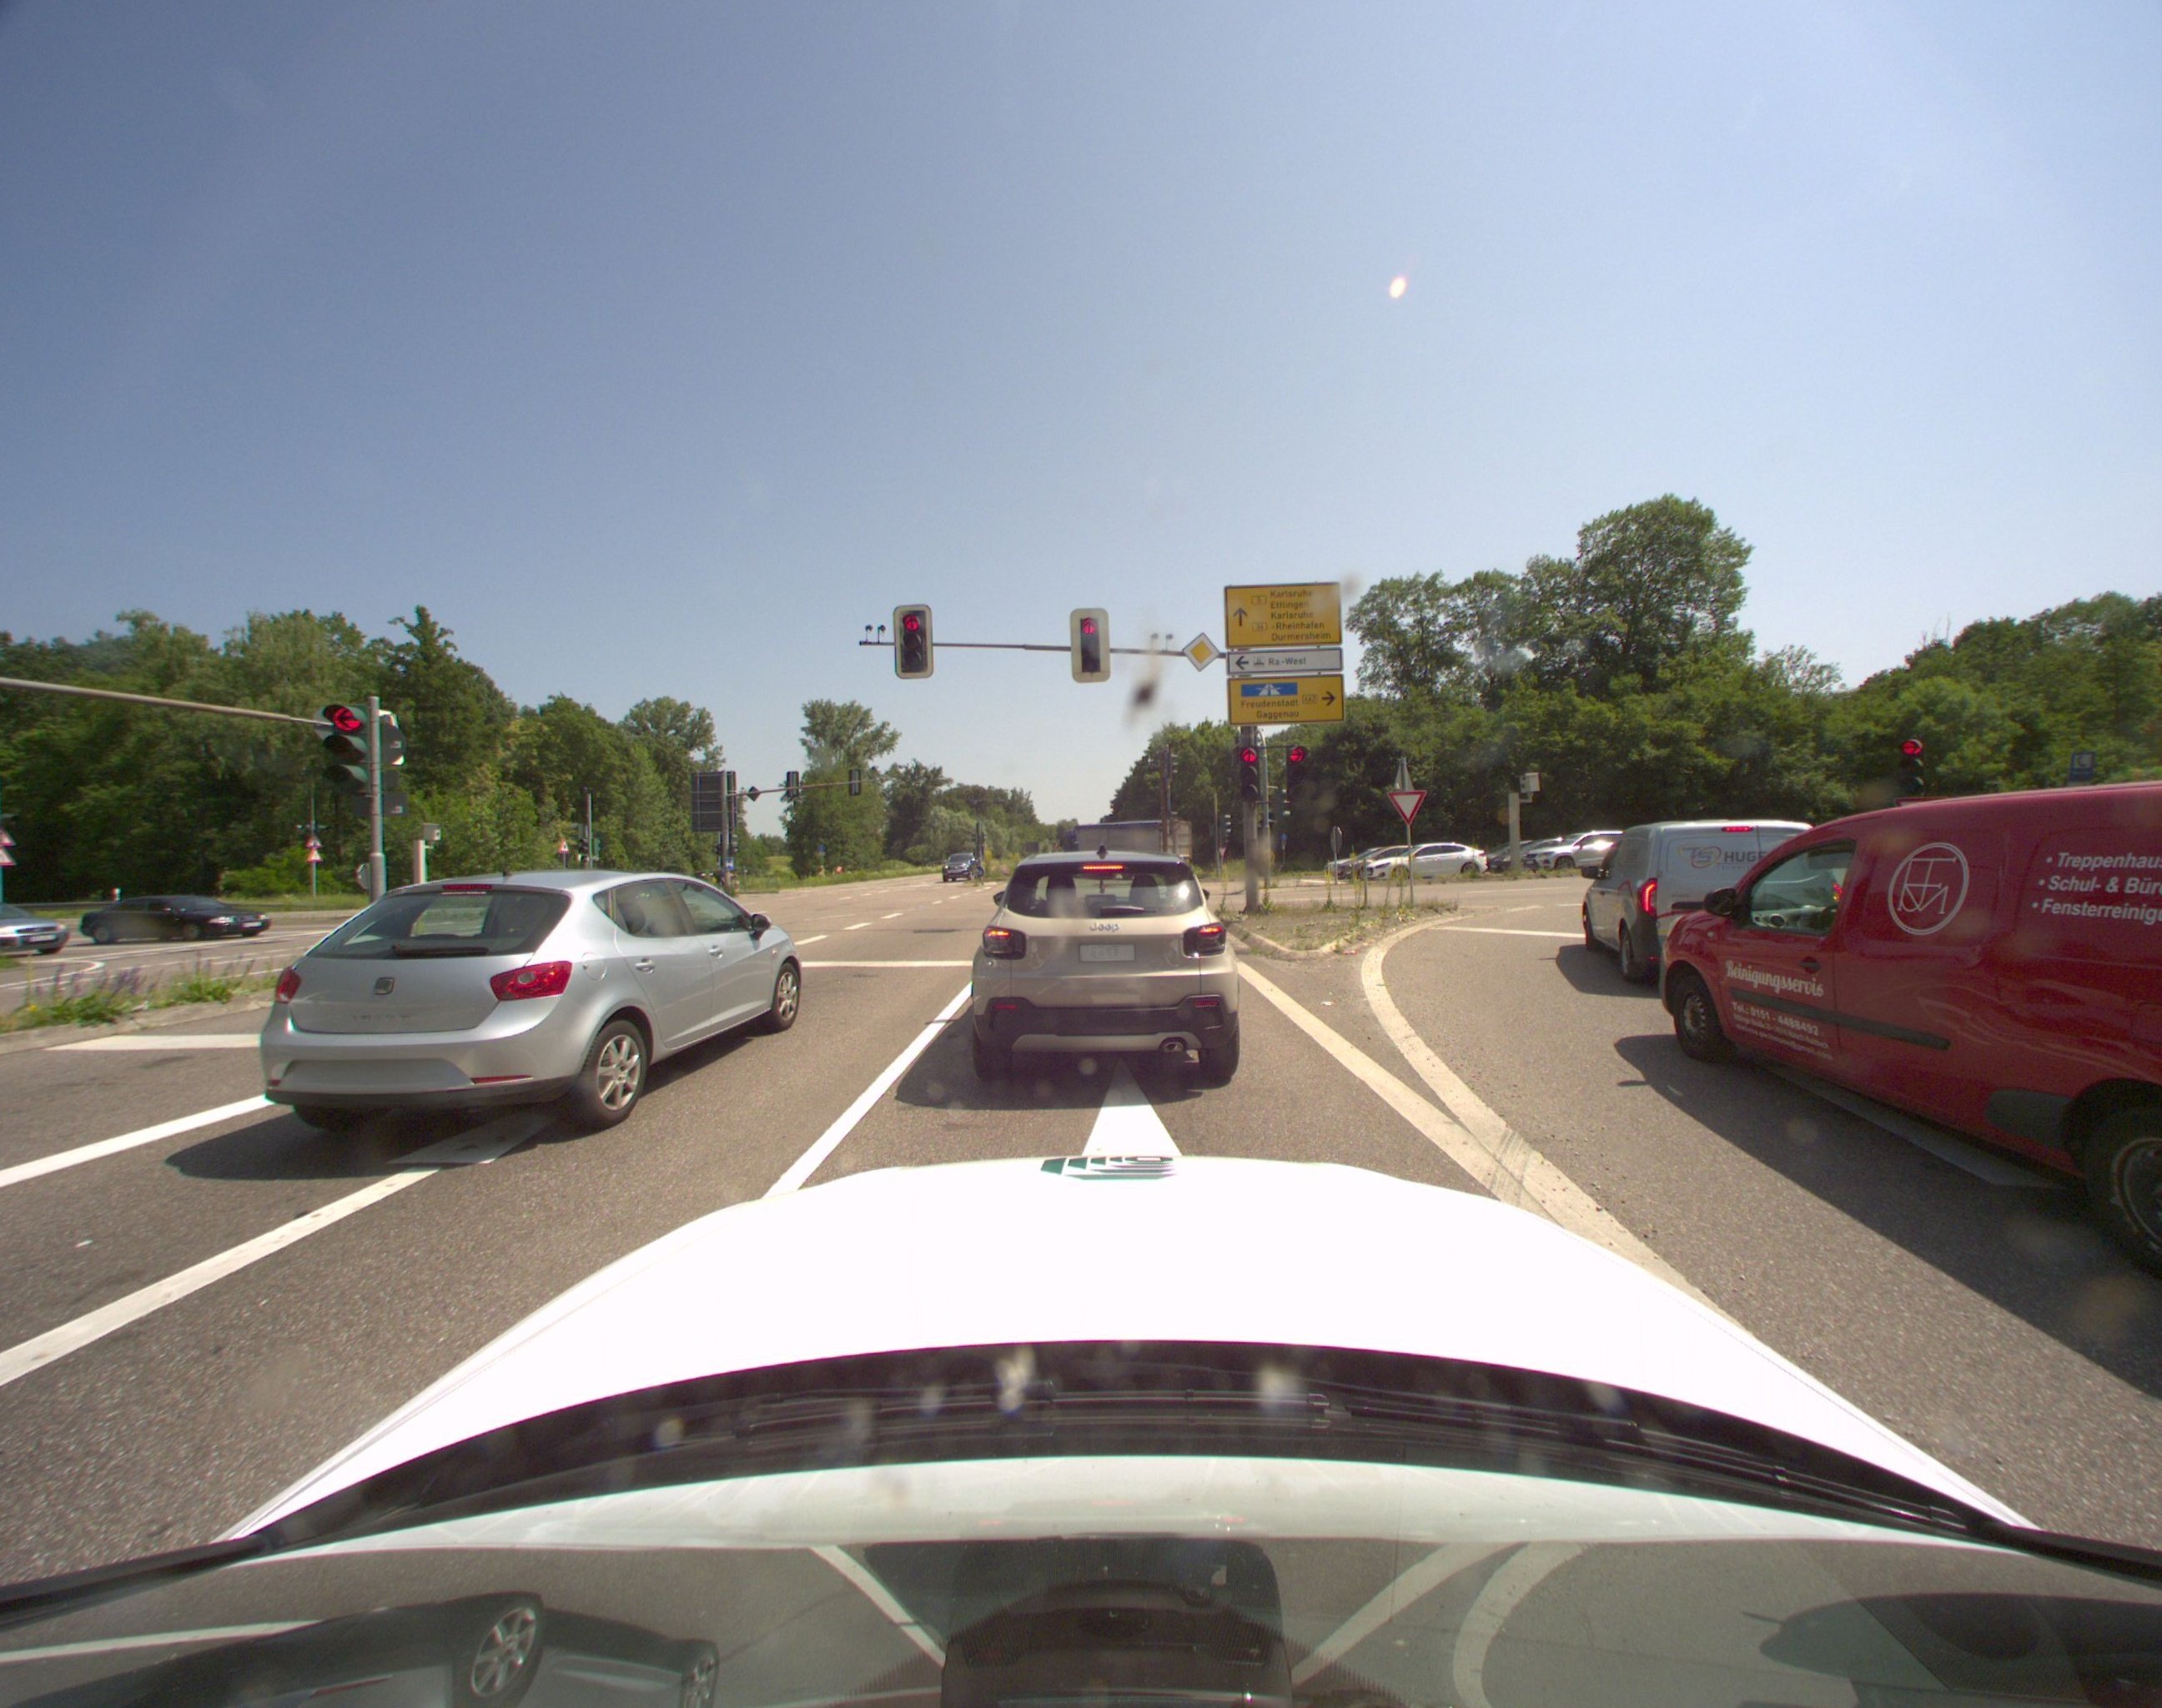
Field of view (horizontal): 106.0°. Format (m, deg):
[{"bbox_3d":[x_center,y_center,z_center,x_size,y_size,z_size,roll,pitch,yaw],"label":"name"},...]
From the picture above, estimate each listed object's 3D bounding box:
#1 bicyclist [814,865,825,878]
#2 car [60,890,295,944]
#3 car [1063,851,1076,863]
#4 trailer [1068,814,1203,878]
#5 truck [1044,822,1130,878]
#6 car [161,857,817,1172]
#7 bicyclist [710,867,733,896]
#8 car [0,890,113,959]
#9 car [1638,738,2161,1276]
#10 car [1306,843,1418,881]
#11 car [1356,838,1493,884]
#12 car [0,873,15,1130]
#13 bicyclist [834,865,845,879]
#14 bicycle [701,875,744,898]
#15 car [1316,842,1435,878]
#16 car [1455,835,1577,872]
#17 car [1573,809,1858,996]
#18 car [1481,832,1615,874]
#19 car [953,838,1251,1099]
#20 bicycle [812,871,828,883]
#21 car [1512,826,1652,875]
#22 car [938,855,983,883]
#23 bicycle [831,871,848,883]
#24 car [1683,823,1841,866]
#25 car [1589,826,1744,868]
[{"bbox_3d":[-24.058,1.588,75.037,0.730,1.195,0.594,-3,-1,12],"label":"bicyclist"},{"bbox_3d":[-27.323,1.881,24.767,4.788,1.290,2.106,-2,0,1],"label":"car"},{"bbox_3d":[-1.971,0.551,143.339,1.986,2.013,4.556,-2,0,2],"label":"car"},{"bbox_3d":[3.466,-0.470,56.162,3.407,3.989,10.689,0,-1,-34],"label":"trailer"},{"bbox_3d":[0.354,-0.255,60.943,3.356,3.989,6.465,0,-1,-33],"label":"truck"},{"bbox_3d":[-3.348,0.746,5.655,1.659,1.430,3.830,0,0,2],"label":"car"},{"bbox_3d":[-18.741,1.411,42.436,0.914,1.459,0.721,-2,0,38],"label":"bicyclist"},{"bbox_3d":[-28.564,1.863,20.921,4.788,1.567,2.130,-2,0,0],"label":"car"},{"bbox_3d":[4.860,0.501,4.129,1.780,1.822,4.511,-1,0,12],"label":"car"},{"bbox_3d":[12.035,0.342,35.084,4.080,1.447,1.994,-2,0,-1],"label":"car"},{"bbox_3d":[13.082,0.257,31.223,4.406,1.535,1.999,-2,0,-1],"label":"car"},{"bbox_3d":[-6.734,0.813,2.453,1.759,1.391,4.014,0,0,-1],"label":"car"},{"bbox_3d":[-22.598,1.684,76.138,0.752,1.195,0.594,-3,0,11],"label":"bicyclist"},{"bbox_3d":[-18.686,1.687,42.456,0.715,1.063,1.881,-2,0,38],"label":"bicycle"},{"bbox_3d":[13.891,0.300,38.658,4.913,1.498,2.021,-2,-1,1],"label":"car"},{"bbox_3d":[20.331,0.012,38.217,4.600,1.498,2.112,-2,-1,1],"label":"car"},{"bbox_3d":[7.336,0.449,9.921,1.740,1.773,4.136,-2,0,24],"label":"car"},{"bbox_3d":[19.696,-0.025,34.514,4.404,1.535,2.122,-2,-1,0],"label":"car"},{"bbox_3d":[0.188,0.689,6.886,1.761,1.535,4.002,-1,0,2],"label":"car"},{"bbox_3d":[-24.022,2.122,75.011,0.600,1.006,1.560,-3,-1,12],"label":"bicycle"},{"bbox_3d":[19.257,-0.115,31.451,4.157,1.659,2.000,-2,0,1],"label":"car"},{"bbox_3d":[-7.954,0.933,54.409,1.986,1.678,5.367,-3,0,2],"label":"car"},{"bbox_3d":[-22.571,2.158,76.191,0.672,1.005,1.806,-3,0,11],"label":"bicycle"},{"bbox_3d":[26.043,-0.347,31.264,4.315,1.414,1.974,-3,-1,1],"label":"car"},{"bbox_3d":[25.198,-0.290,35.184,5.111,1.533,2.138,-3,-1,1],"label":"car"}]
